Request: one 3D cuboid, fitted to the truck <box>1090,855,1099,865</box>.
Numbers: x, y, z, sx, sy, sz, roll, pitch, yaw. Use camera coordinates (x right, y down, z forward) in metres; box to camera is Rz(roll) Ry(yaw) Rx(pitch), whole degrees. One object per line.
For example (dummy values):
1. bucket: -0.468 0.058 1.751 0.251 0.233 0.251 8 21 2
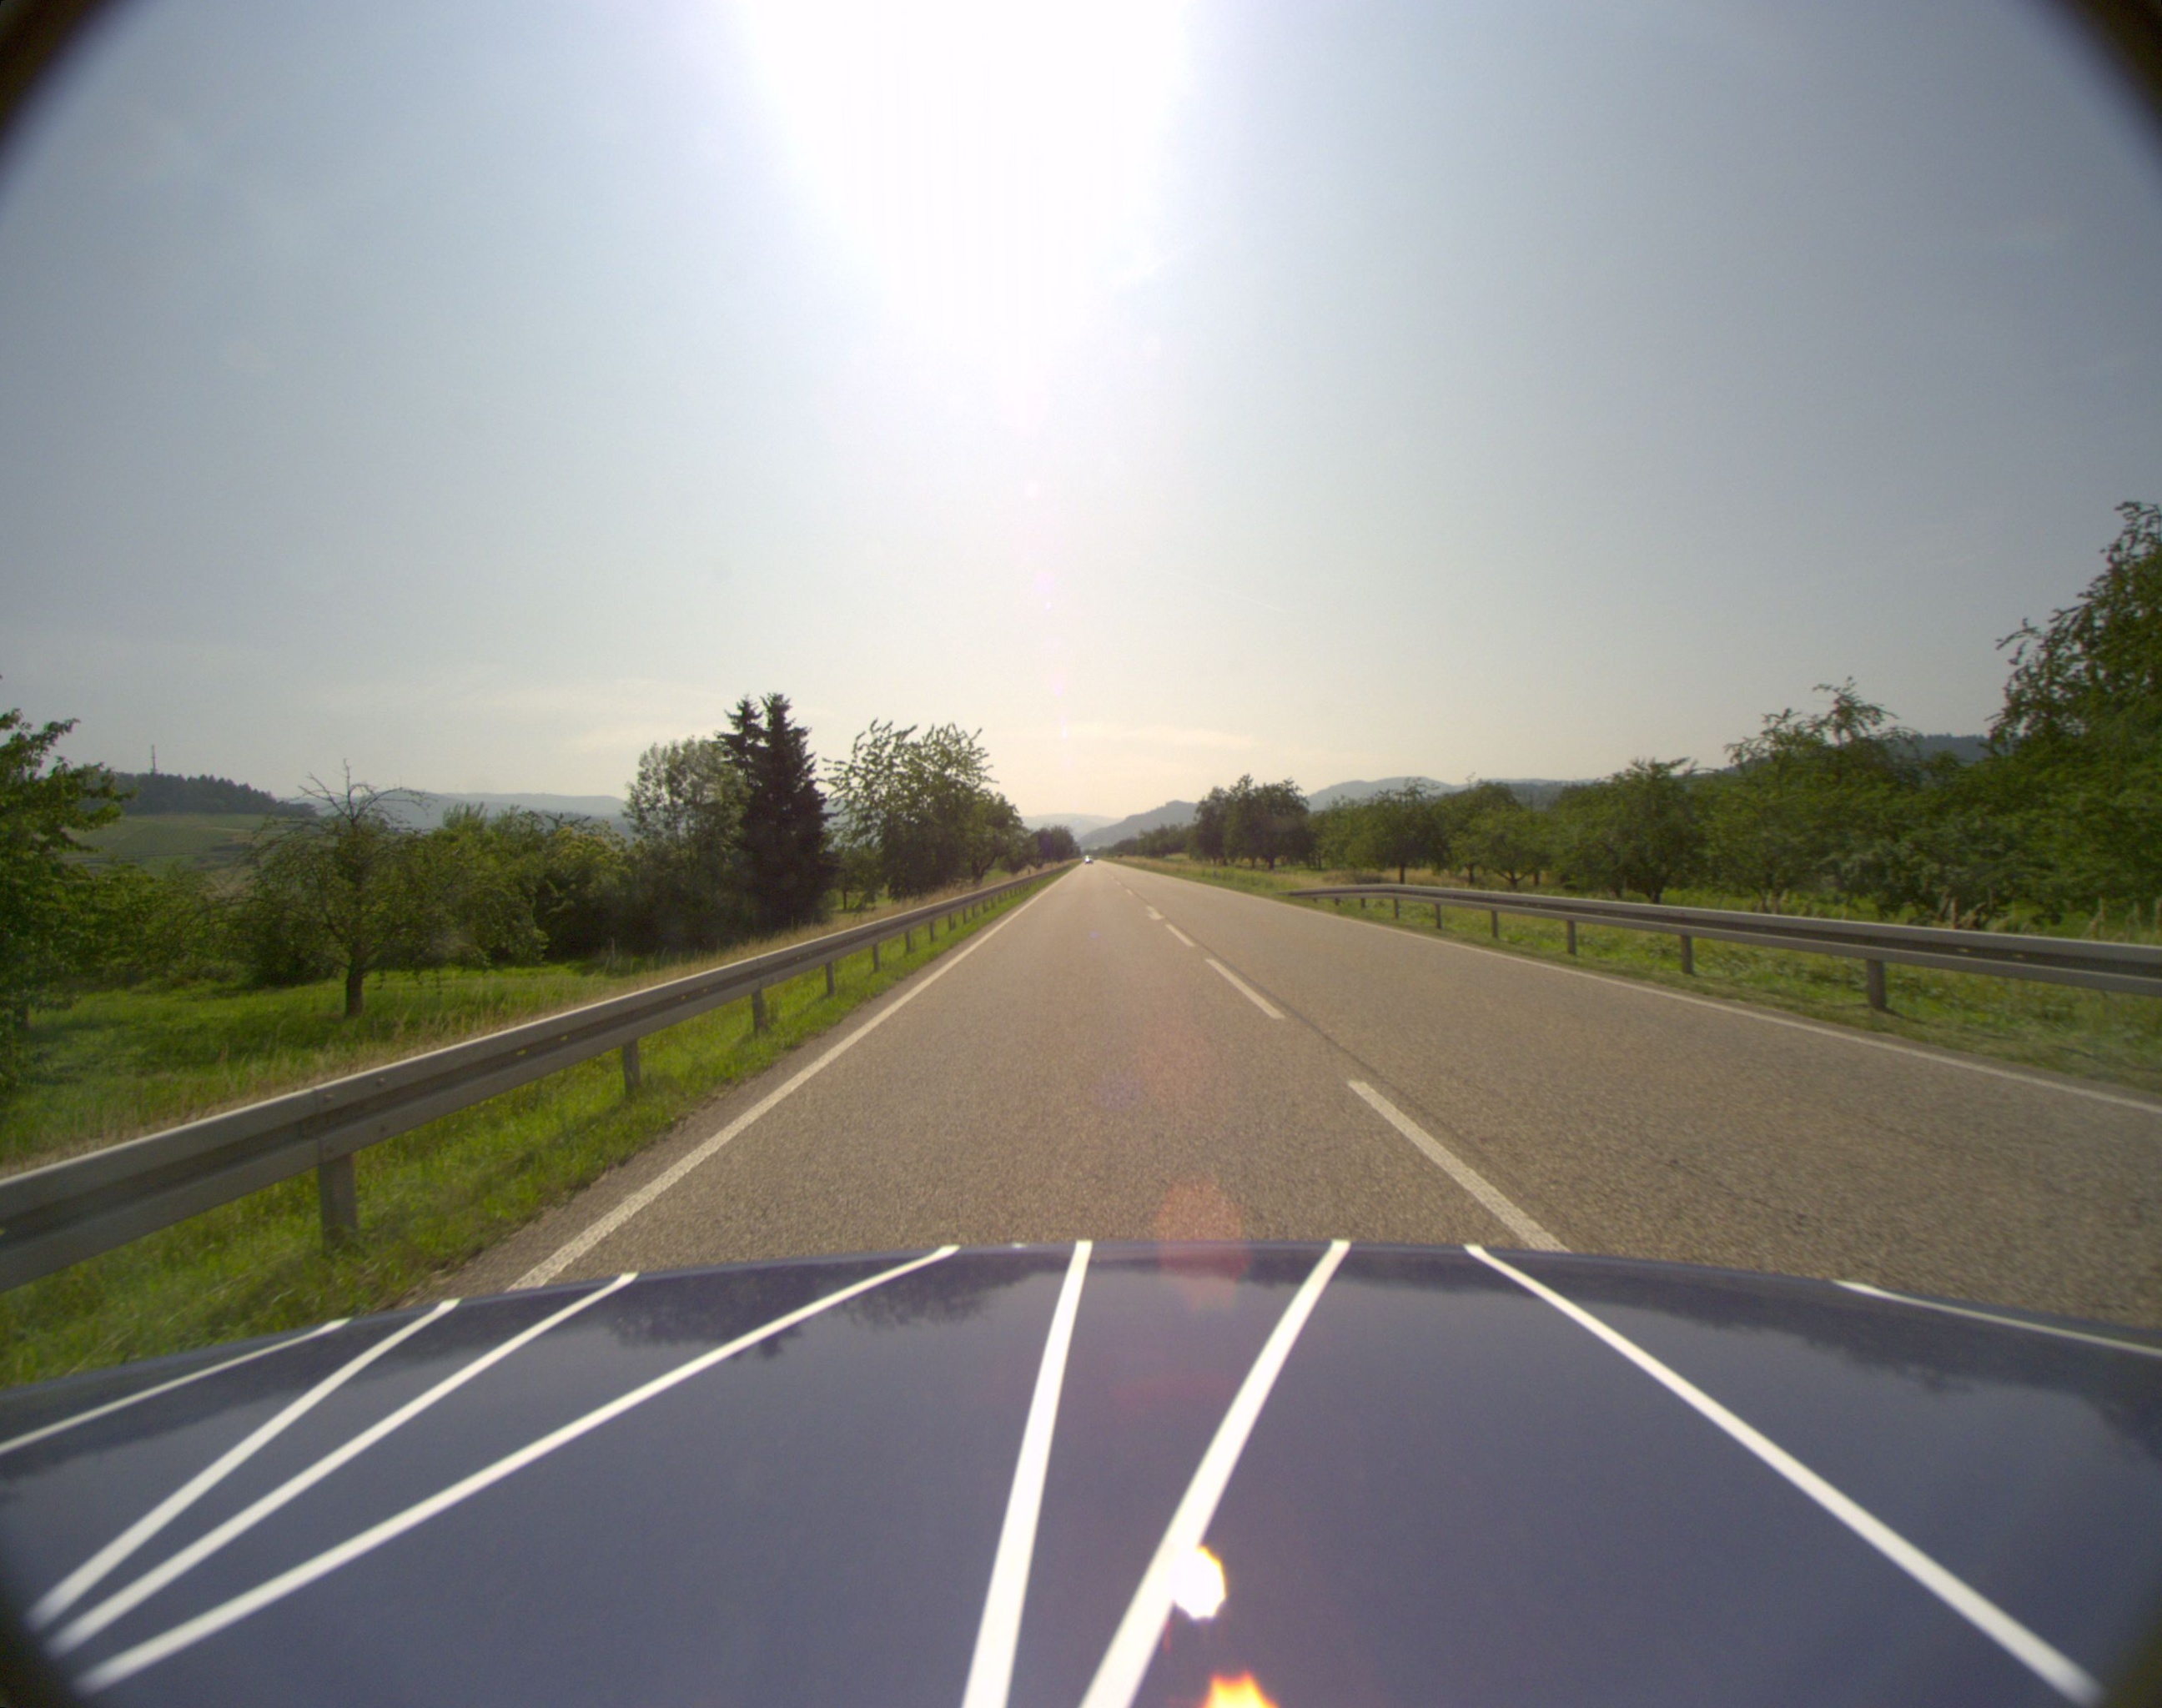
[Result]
1. truck: 3.195 1.378 184.076 2.031 2.232 4.765 -2 1 2
